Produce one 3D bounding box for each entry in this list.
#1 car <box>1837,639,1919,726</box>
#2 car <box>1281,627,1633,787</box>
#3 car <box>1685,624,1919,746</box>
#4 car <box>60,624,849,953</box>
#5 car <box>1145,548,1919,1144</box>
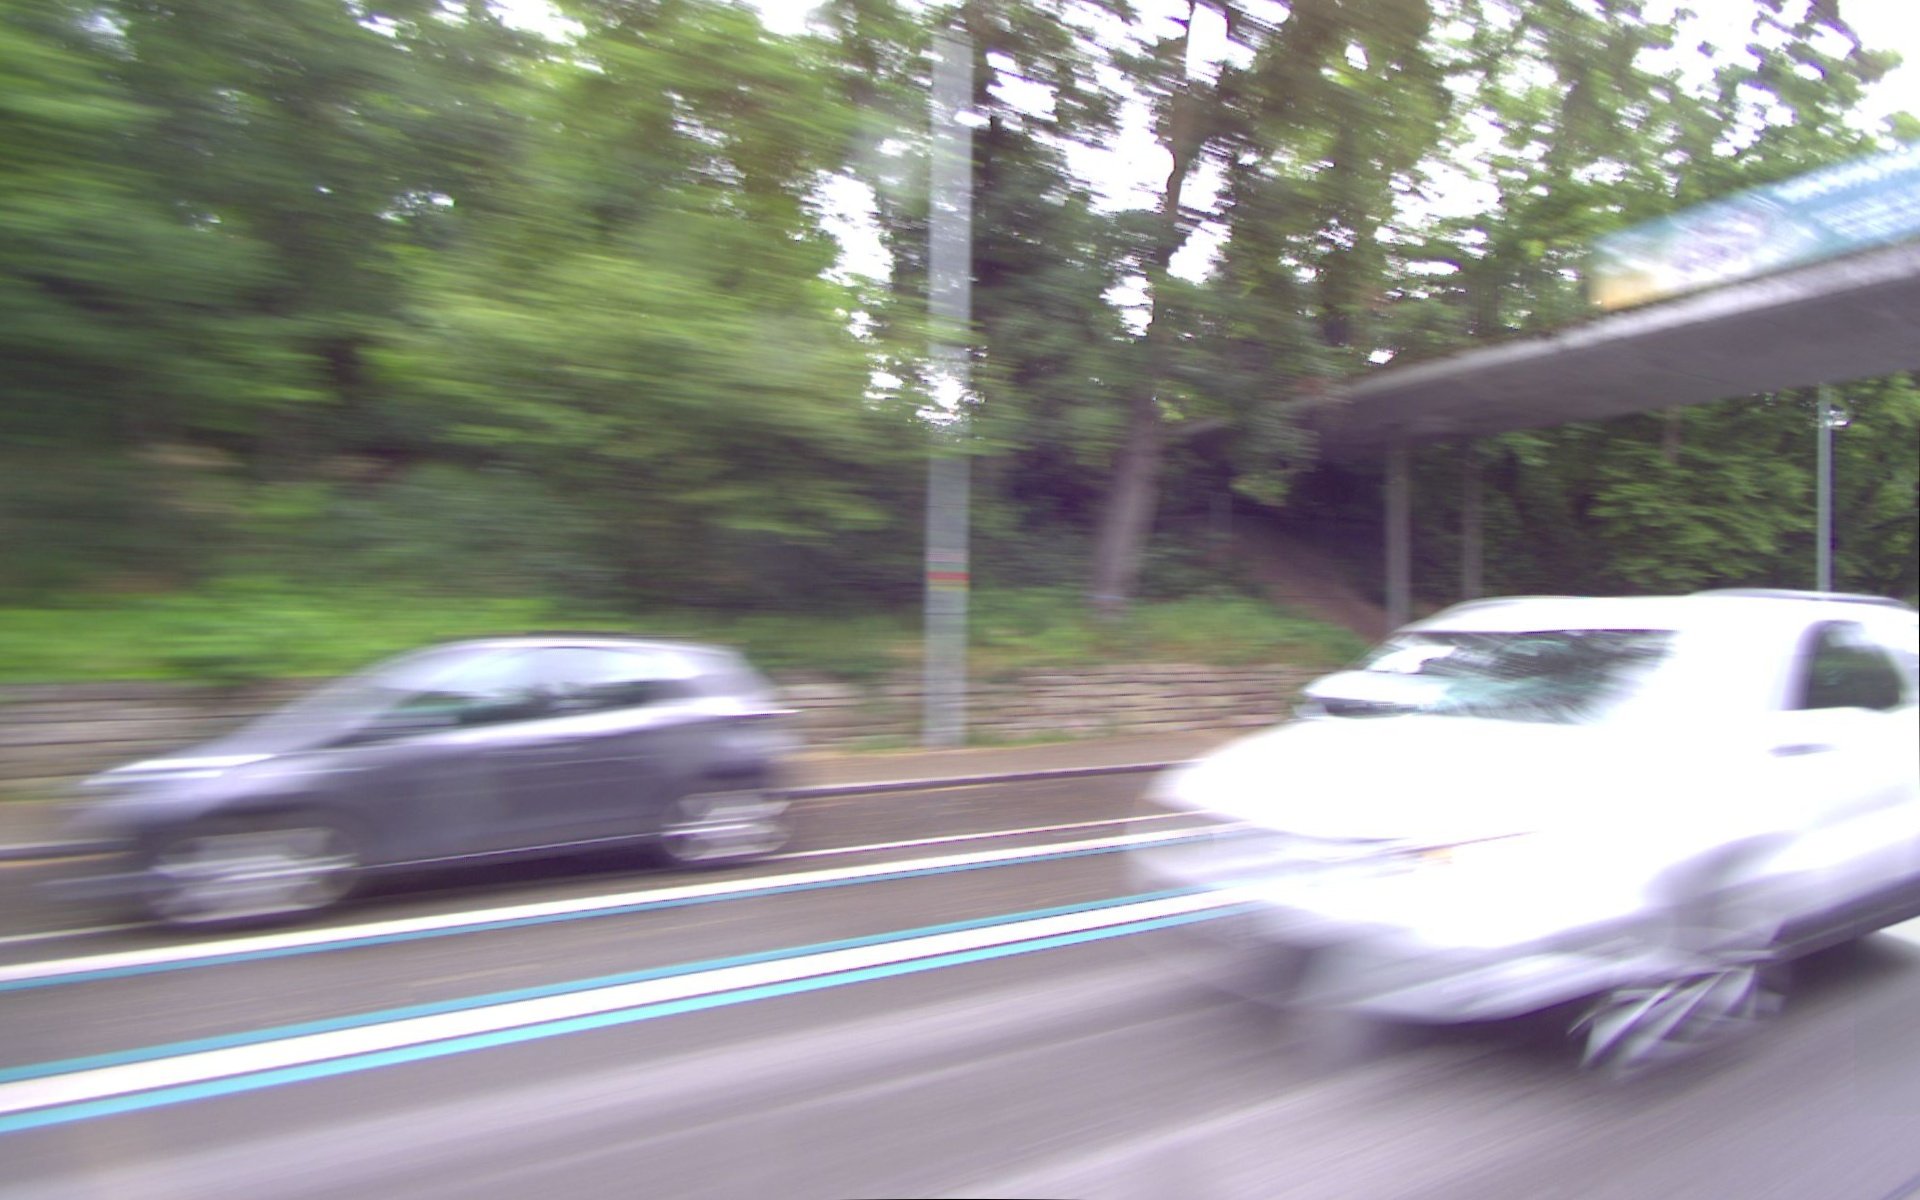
[{"bbox_3d":[19.169,1.543,19.351,4.839,1.492,1.974,1,0,-30],"label":"car"},{"bbox_3d":[5.871,1.115,11.759,4.182,1.567,1.680,1,-1,-30],"label":"car"},{"bbox_3d":[14.358,1.293,16.689,4.780,1.765,1.981,1,-1,-30],"label":"car"},{"bbox_3d":[-2.908,0.914,6.467,3.995,1.496,1.821,1,-1,-32],"label":"car"},{"bbox_3d":[3.064,0.779,4.690,4.130,1.688,1.826,1,-3,-29],"label":"car"}]
